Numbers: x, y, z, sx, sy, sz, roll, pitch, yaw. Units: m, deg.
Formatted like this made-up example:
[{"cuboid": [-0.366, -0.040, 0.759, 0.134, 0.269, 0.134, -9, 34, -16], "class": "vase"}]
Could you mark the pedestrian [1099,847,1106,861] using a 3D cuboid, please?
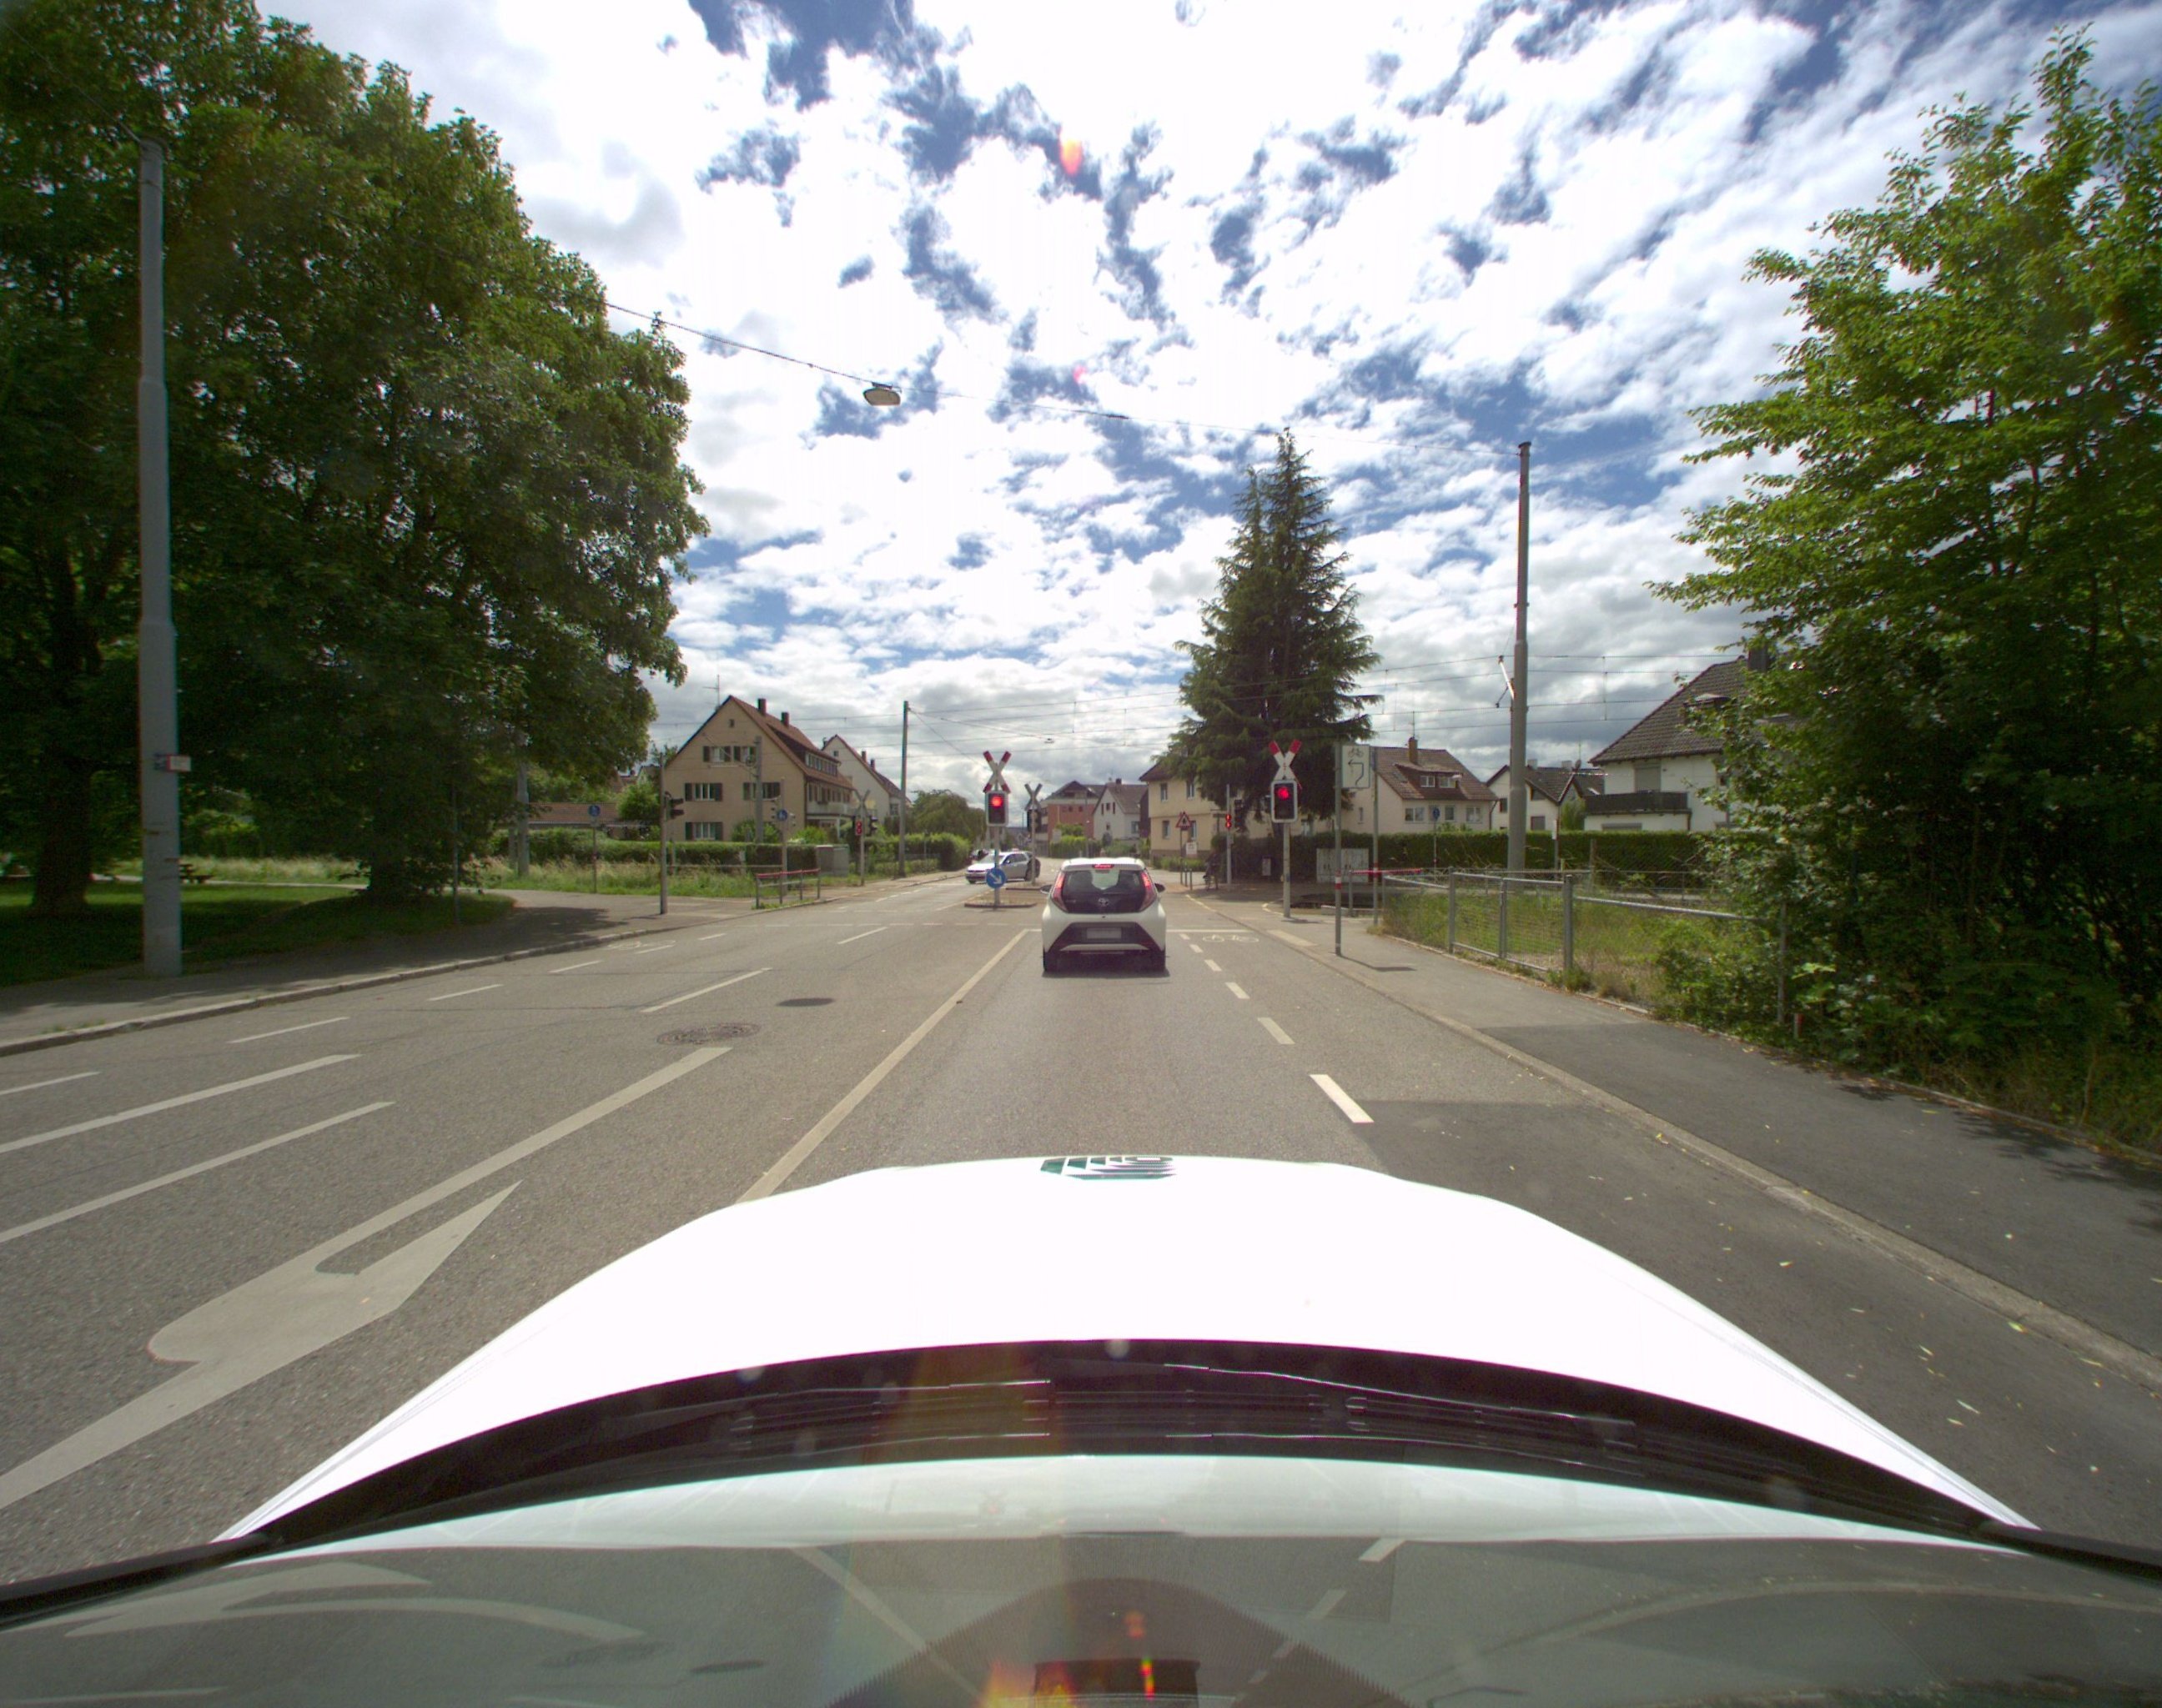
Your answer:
[{"cuboid": [2.428, 0.035, 92.768, 0.723, 1.576, 0.804, 0, 0, 1], "class": "pedestrian"}]

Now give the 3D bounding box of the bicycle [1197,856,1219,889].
[{"cuboid": [4.972, 0.712, 31.951, 0.456, 1.172, 1.477, -3, 3, -4], "class": "bicycle"}]

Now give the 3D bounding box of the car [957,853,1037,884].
[{"cuboid": [-4.111, 0.663, 40.376, 1.887, 1.441, 4.124, 0, 0, 30], "class": "car"}]

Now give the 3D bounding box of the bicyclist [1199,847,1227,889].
[{"cuboid": [5.163, 0.521, 31.877, 0.839, 1.553, 0.755, -3, 2, -4], "class": "bicyclist"}]

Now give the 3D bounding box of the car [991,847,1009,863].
[{"cuboid": [-9.114, 0.083, 91.778, 1.990, 1.719, 3.994, 0, 0, -5], "class": "car"}]

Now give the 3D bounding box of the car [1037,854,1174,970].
[{"cuboid": [0.261, 0.732, 12.061, 1.716, 1.442, 3.706, 0, 0, -2], "class": "car"}]
